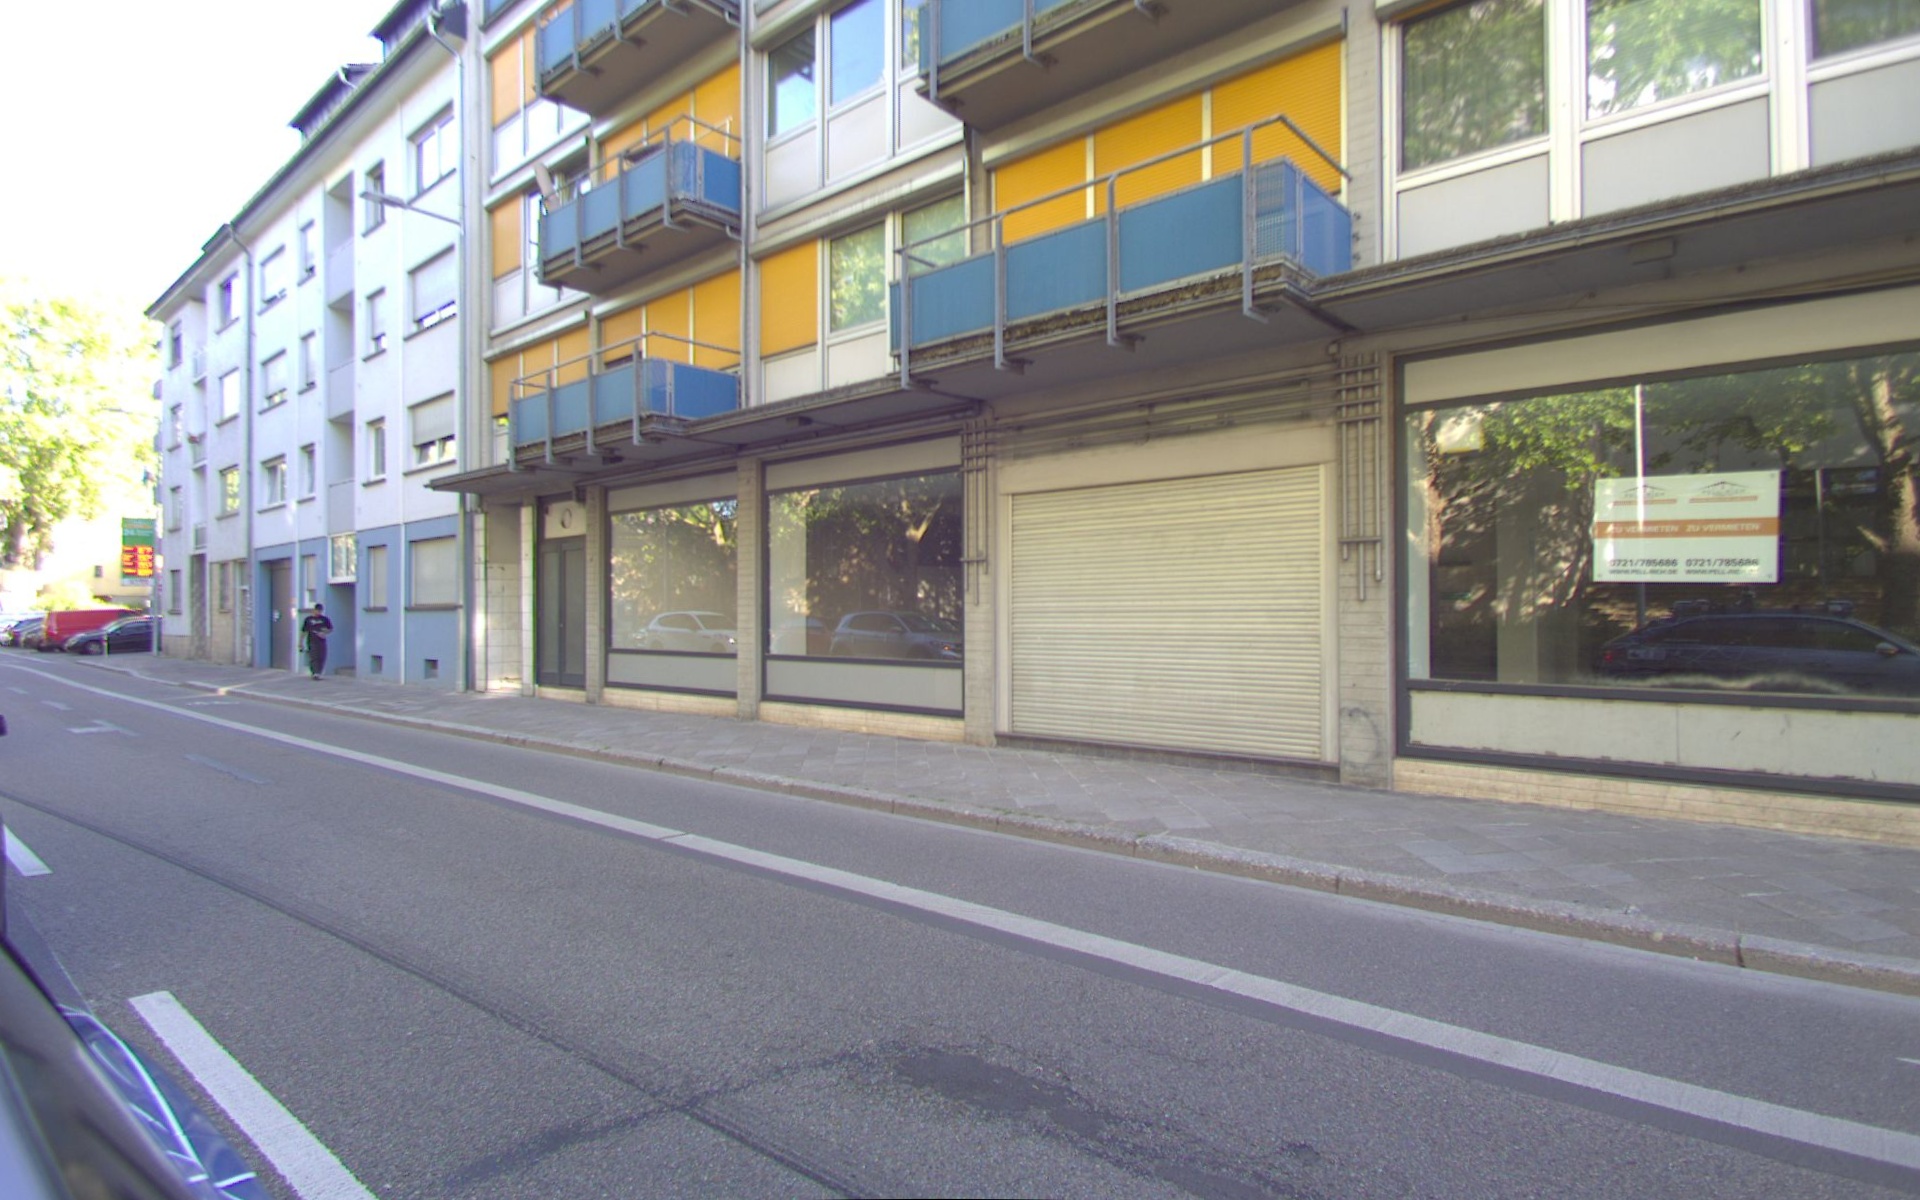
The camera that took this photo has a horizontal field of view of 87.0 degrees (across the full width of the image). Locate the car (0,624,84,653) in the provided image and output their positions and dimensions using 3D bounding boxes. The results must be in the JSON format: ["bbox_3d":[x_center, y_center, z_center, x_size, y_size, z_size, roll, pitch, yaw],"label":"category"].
[{"bbox_3d":[-55.885,2.296,61.209,1.652,1.480,4.201,-1,1,41],"label":"car"}]

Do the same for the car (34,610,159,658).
[{"bbox_3d":[-40.576,1.556,47.630,1.817,1.933,4.202,-1,1,40],"label":"car"}]

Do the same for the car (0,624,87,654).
[{"bbox_3d":[-54.504,2.275,59.801,1.652,1.480,4.201,-1,1,41],"label":"car"}]

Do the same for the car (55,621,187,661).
[{"bbox_3d":[-36.502,1.742,44.104,1.652,1.411,4.201,-1,1,41],"label":"car"}]

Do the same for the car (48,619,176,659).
[{"bbox_3d":[-38.195,1.729,45.667,1.652,1.480,4.201,-1,1,41],"label":"car"}]

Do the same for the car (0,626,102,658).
[{"bbox_3d":[-50.471,2.289,56.116,1.652,1.480,4.201,-1,1,41],"label":"car"}]

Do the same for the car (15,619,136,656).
[{"bbox_3d":[-42.764,1.788,49.025,1.652,1.480,4.201,-1,1,41],"label":"car"}]

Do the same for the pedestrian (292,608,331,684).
[{"bbox_3d":[-14.830,1.047,23.137,0.655,1.708,0.604,-2,-1,41],"label":"pedestrian"}]

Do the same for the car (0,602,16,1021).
[{"bbox_3d":[-5.653,0.797,4.414,4.300,1.510,1.826,-1,-1,41],"label":"car"}]
